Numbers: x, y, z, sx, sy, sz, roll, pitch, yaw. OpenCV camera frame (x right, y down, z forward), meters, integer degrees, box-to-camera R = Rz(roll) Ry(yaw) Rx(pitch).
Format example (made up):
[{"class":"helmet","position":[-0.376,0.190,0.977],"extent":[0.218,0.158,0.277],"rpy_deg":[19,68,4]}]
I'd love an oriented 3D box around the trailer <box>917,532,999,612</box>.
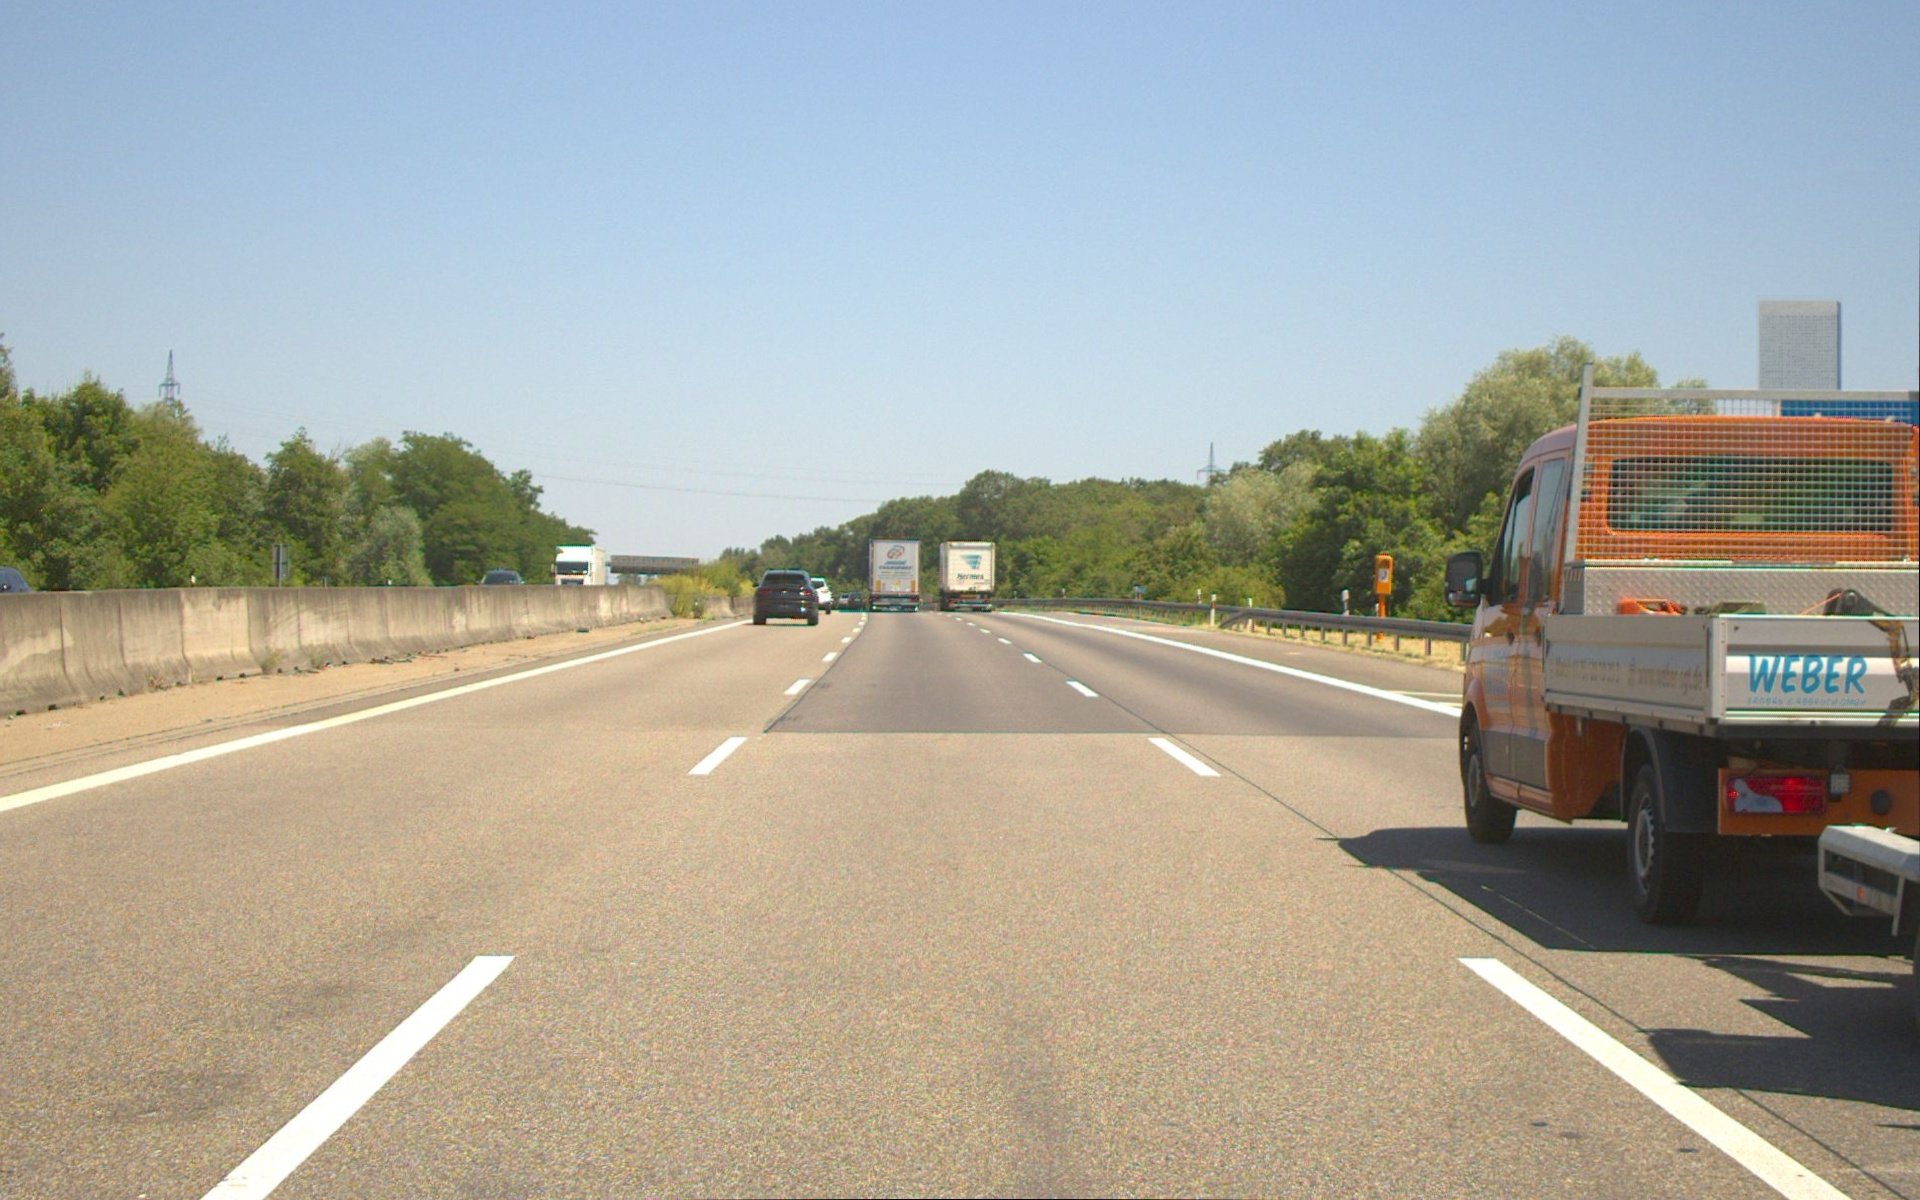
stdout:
[{"class":"trailer","position":[-0.182,-1.595,192.114],"extent":[3.367,4.128,9.093],"rpy_deg":[4,0,-6]}]

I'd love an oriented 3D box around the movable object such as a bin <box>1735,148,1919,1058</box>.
[{"class":"movable object such as a bin","position":[4.049,0.019,10.509],"extent":[2.174,2.806,4.761],"rpy_deg":[1,0,-1]}]

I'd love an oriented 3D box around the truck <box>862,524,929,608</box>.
[{"class":"truck","position":[-3.488,-1.835,184.103],"extent":[3.229,4.187,8.466],"rpy_deg":[3,1,-2]}]

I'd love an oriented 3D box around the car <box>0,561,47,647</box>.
[{"class":"car","position":[-23.451,0.058,82.193],"extent":[1.993,2.007,4.429],"rpy_deg":[1,0,1]}]

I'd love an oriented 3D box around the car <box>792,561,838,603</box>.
[{"class":"car","position":[-6.662,-0.839,158.144],"extent":[1.993,1.868,4.000],"rpy_deg":[2,0,-1]}]

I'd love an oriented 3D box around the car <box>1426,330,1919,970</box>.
[{"class":"car","position":[3.798,0.168,16.569],"extent":[1.993,2.397,7.226],"rpy_deg":[1,1,-1]}]

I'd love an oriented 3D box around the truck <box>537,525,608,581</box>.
[{"class":"truck","position":[-27.313,-3.254,242.972],"extent":[3.598,3.722,17.487],"rpy_deg":[1,0,-2]}]

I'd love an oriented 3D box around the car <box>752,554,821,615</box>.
[{"class":"car","position":[-5.480,-0.494,108.947],"extent":[1.993,1.868,4.000],"rpy_deg":[1,0,-1]}]
